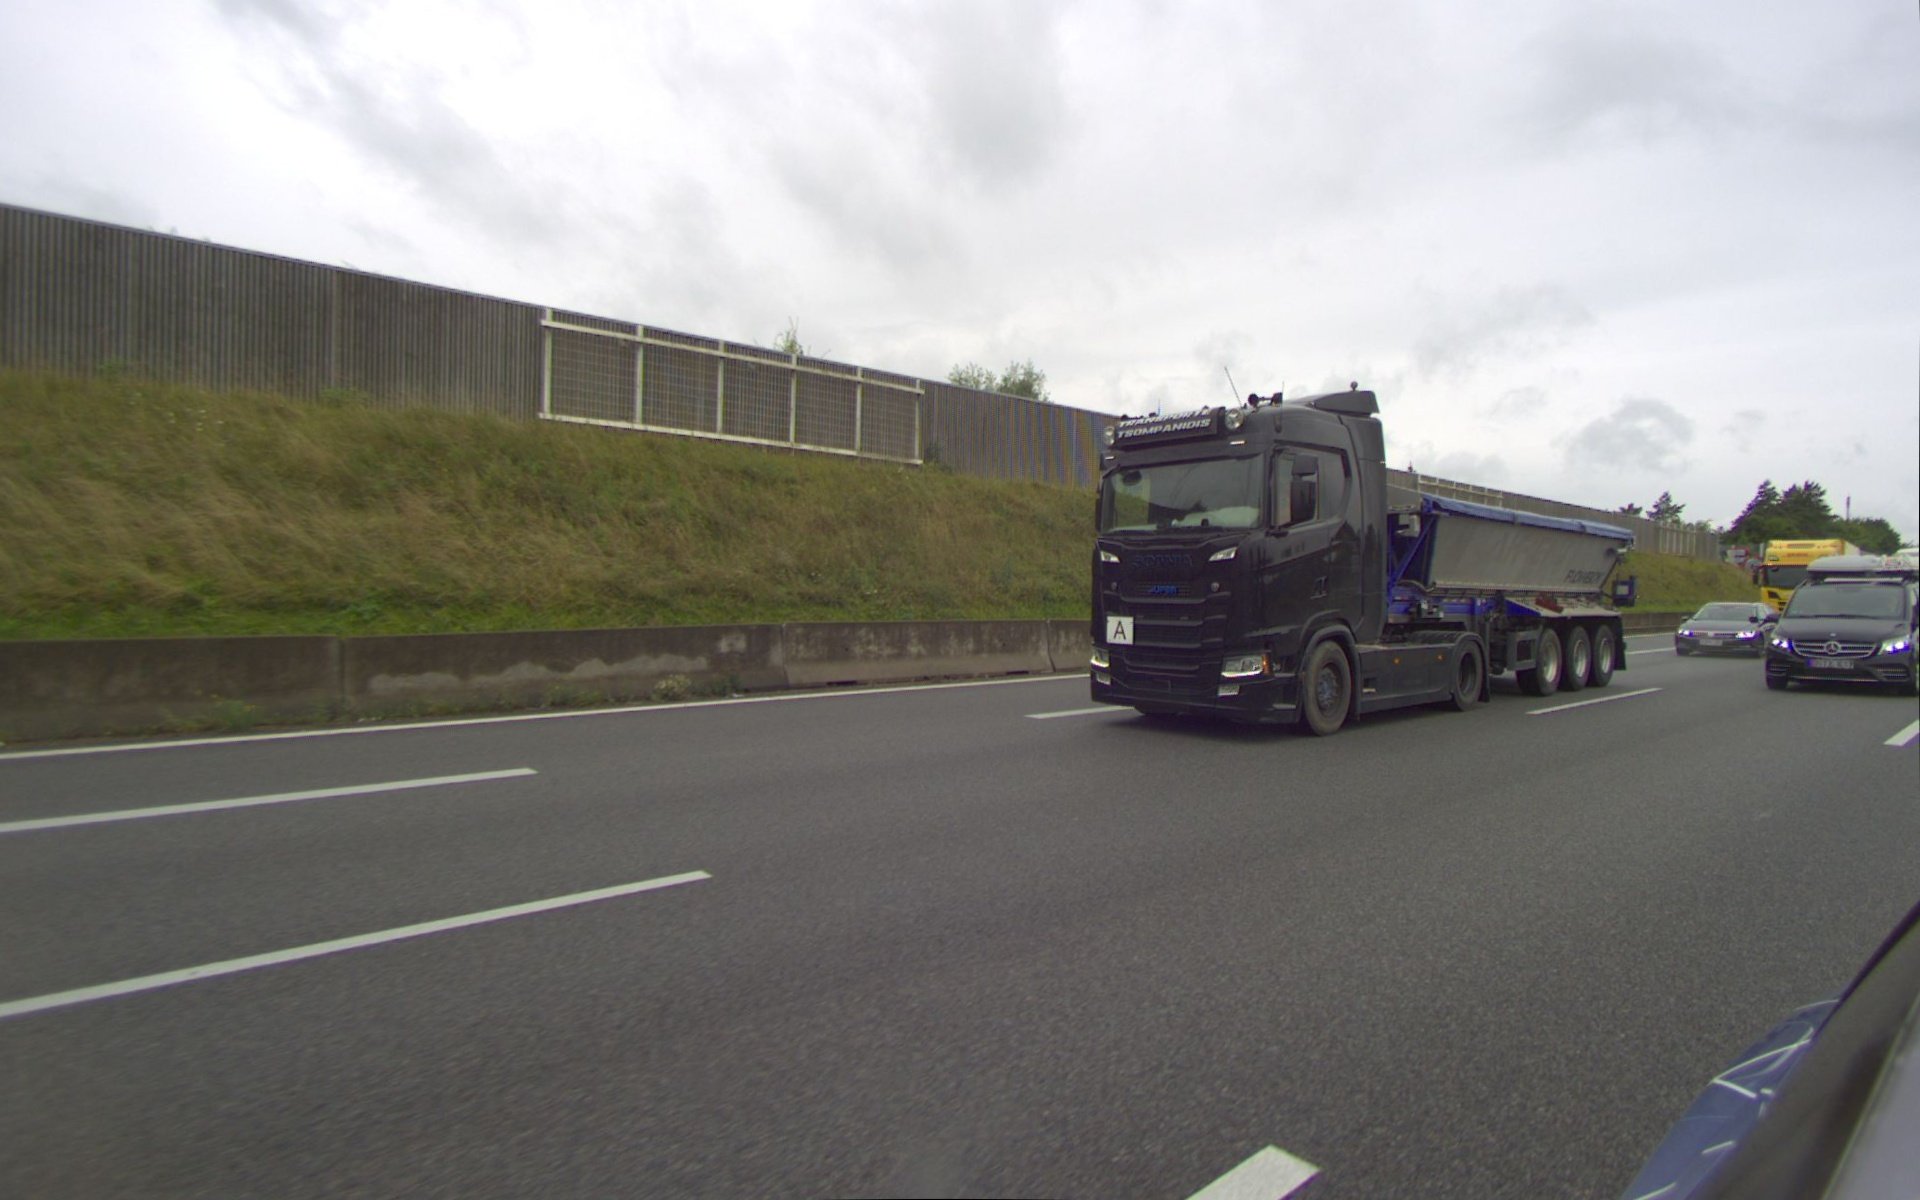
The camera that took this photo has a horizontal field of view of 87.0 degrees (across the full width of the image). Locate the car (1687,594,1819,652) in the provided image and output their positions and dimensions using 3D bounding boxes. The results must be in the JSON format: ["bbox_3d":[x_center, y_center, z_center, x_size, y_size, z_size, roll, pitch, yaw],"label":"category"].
[{"bbox_3d":[21.745,0.577,27.673,5.197,1.445,1.942,0,0,-42],"label":"car"}]

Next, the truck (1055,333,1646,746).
[{"bbox_3d":[6.714,-0.643,15.043,12.494,4.000,2.817,0,1,-42],"label":"truck"}]

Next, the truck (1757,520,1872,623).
[{"bbox_3d":[36.790,-1.129,43.430,9.169,4.008,2.688,0,0,-43],"label":"truck"}]

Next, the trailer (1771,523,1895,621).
[{"bbox_3d":[41.829,-1.198,48.149,16.404,4.003,2.654,0,0,-43],"label":"trailer"}]

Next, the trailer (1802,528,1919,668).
[{"bbox_3d":[20.835,-0.039,22.094,7.382,2.675,2.725,0,1,-42],"label":"trailer"}]

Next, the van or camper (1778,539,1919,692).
[{"bbox_3d":[16.075,0.240,17.699,5.581,2.298,1.893,1,0,-42],"label":"van or camper"}]
